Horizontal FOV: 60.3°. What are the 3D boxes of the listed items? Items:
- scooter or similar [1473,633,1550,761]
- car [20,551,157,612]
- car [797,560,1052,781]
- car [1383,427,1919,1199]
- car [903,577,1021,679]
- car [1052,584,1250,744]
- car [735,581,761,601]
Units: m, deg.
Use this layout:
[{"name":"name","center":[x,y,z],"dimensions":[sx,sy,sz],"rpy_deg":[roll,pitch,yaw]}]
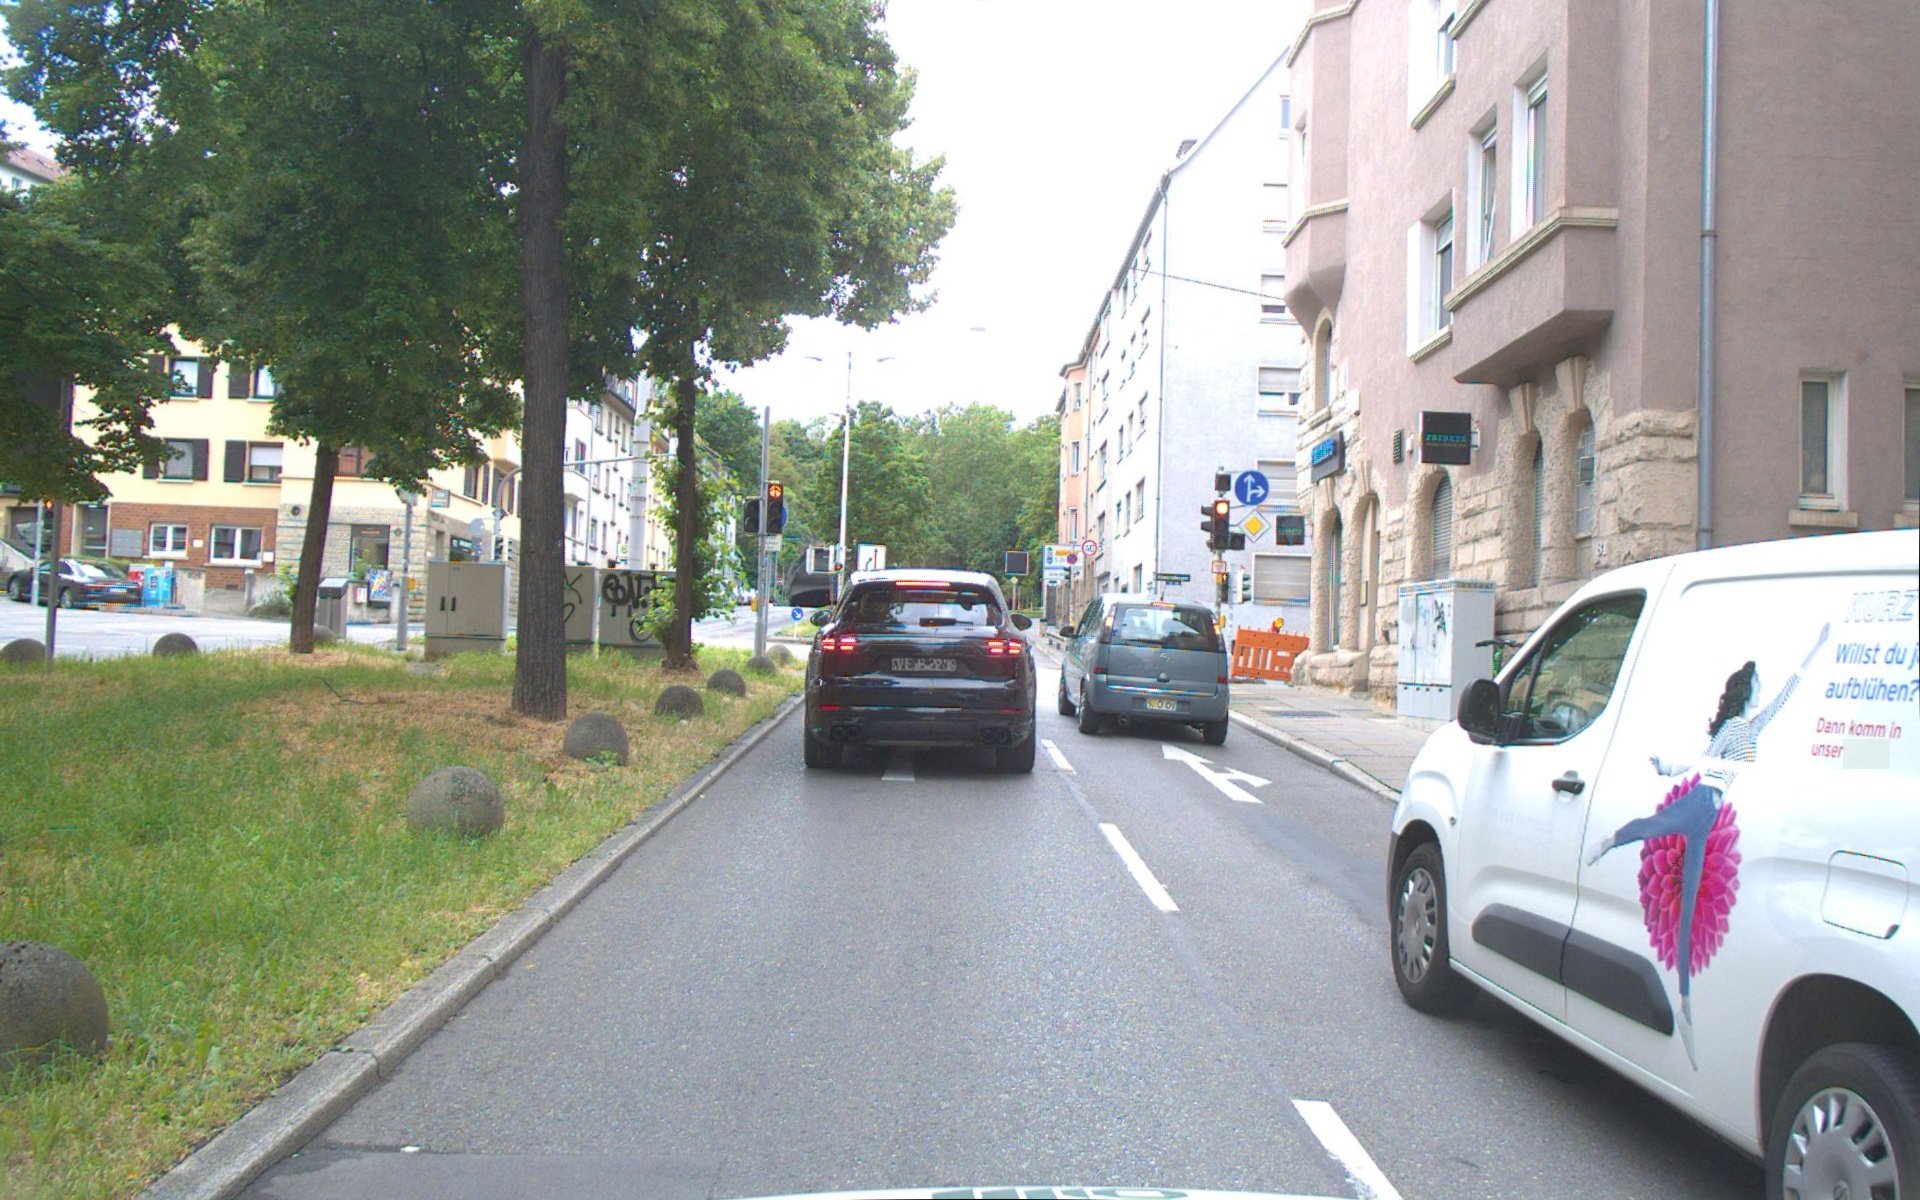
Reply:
[{"name":"scooter or similar","center":[5.774,0.994,17.363],"dimensions":[0.392,1.208,1.355],"rpy_deg":[1,2,3]},{"name":"car","center":[-25.934,-0.560,49.172],"dimensions":[3.916,1.694,1.877],"rpy_deg":[1,-2,33]},{"name":"car","center":[-0.276,0.520,14.895],"dimensions":[1.953,1.681,4.000],"rpy_deg":[1,1,0]},{"name":"car","center":[2.787,0.697,5.175],"dimensions":[1.811,1.857,5.022],"rpy_deg":[3,-1,3]},{"name":"car","center":[0.040,0.477,29.932],"dimensions":[1.953,1.682,4.000],"rpy_deg":[1,0,0]},{"name":"car","center":[2.181,0.684,19.830],"dimensions":[1.717,1.621,3.629],"rpy_deg":[4,0,-3]},{"name":"car","center":[-17.506,-0.759,136.676],"dimensions":[1.758,1.536,3.998],"rpy_deg":[2,0,-2]}]
